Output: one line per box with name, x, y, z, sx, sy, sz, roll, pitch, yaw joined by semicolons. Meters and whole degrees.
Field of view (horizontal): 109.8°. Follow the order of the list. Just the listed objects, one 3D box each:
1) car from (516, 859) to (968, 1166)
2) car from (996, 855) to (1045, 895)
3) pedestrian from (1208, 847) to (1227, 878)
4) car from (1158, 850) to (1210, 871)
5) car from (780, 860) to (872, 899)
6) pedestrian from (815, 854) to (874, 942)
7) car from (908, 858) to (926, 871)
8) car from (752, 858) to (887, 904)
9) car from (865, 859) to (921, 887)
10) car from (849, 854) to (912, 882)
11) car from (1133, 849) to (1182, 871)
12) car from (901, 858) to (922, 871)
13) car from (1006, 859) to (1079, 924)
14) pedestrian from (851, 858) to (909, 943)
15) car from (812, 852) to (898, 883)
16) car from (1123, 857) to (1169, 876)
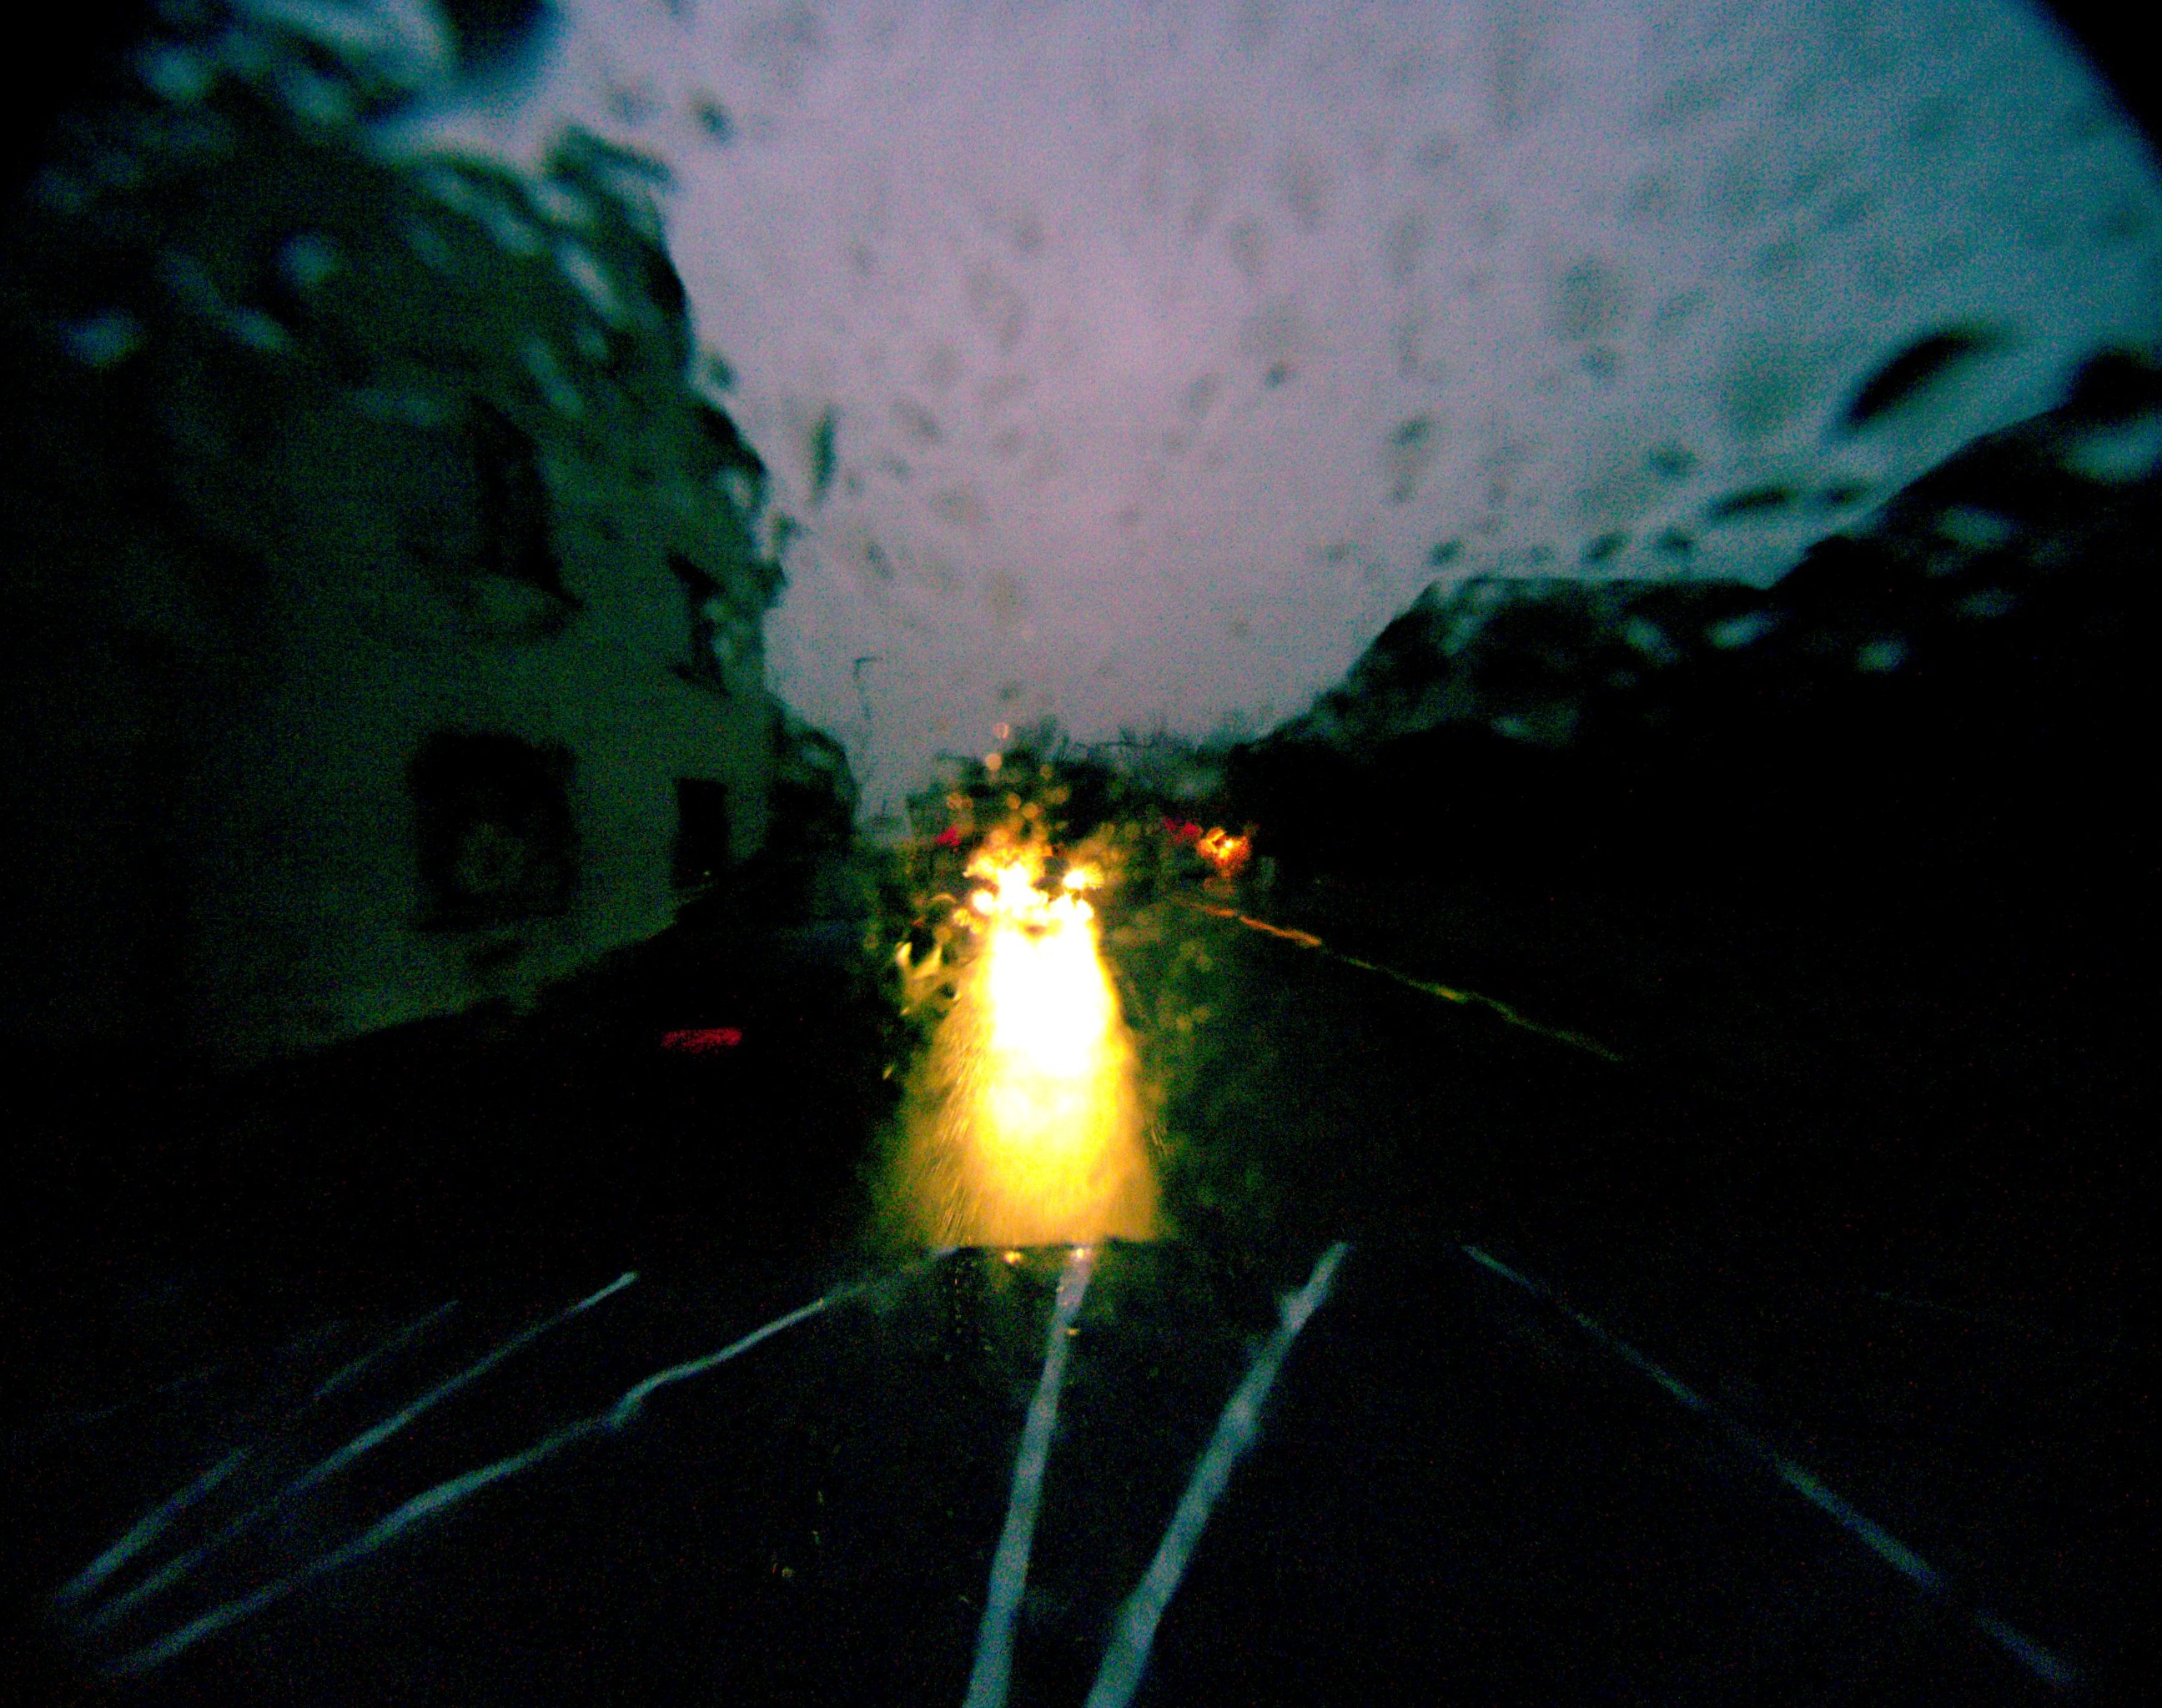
car;-2.243;0.915;6.486;1.852;1.627;4.335;-2;0;0
car;-2.795;0.910;34.487;1.925;1.608;3.865;-2;0;-8
pedestrian;7.901;0.492;44.043;0.882;1.724;0.955;-2;0;0
car;7.621;0.497;56.201;3.478;1.401;1.612;-2;0;20
car;-9.667;0.953;28.961;3.074;1.465;1.549;0;0;-6
pedestrian;-4.801;0.879;15.502;0.850;1.723;0.971;2;0;0
car;-23.023;1.465;106.606;1.903;1.607;3.820;-3;0;-20
car;-8.561;0.867;25.135;3.912;1.465;1.750;0;0;-6
car;-10.129;1.030;41.102;2.772;1.465;1.426;0;0;-8
car;-13.537;0.952;51.450;4.057;1.832;1.861;1;0;-13
car;6.189;0.491;61.592;3.627;1.602;1.612;-2;0;18
car;-19.549;1.203;87.527;1.904;1.457;3.994;-3;0;-19
car;-1.009;0.934;20.499;1.732;1.475;3.603;-3;0;-2
pedestrian;-4.091;0.917;15.529;0.869;1.657;0.992;2;0;0
car;-14.358;0.856;48.504;4.997;1.878;1.935;1;-1;-9
car;5.954;1.178;69.799;3.992;1.623;1.636;-1;0;14
